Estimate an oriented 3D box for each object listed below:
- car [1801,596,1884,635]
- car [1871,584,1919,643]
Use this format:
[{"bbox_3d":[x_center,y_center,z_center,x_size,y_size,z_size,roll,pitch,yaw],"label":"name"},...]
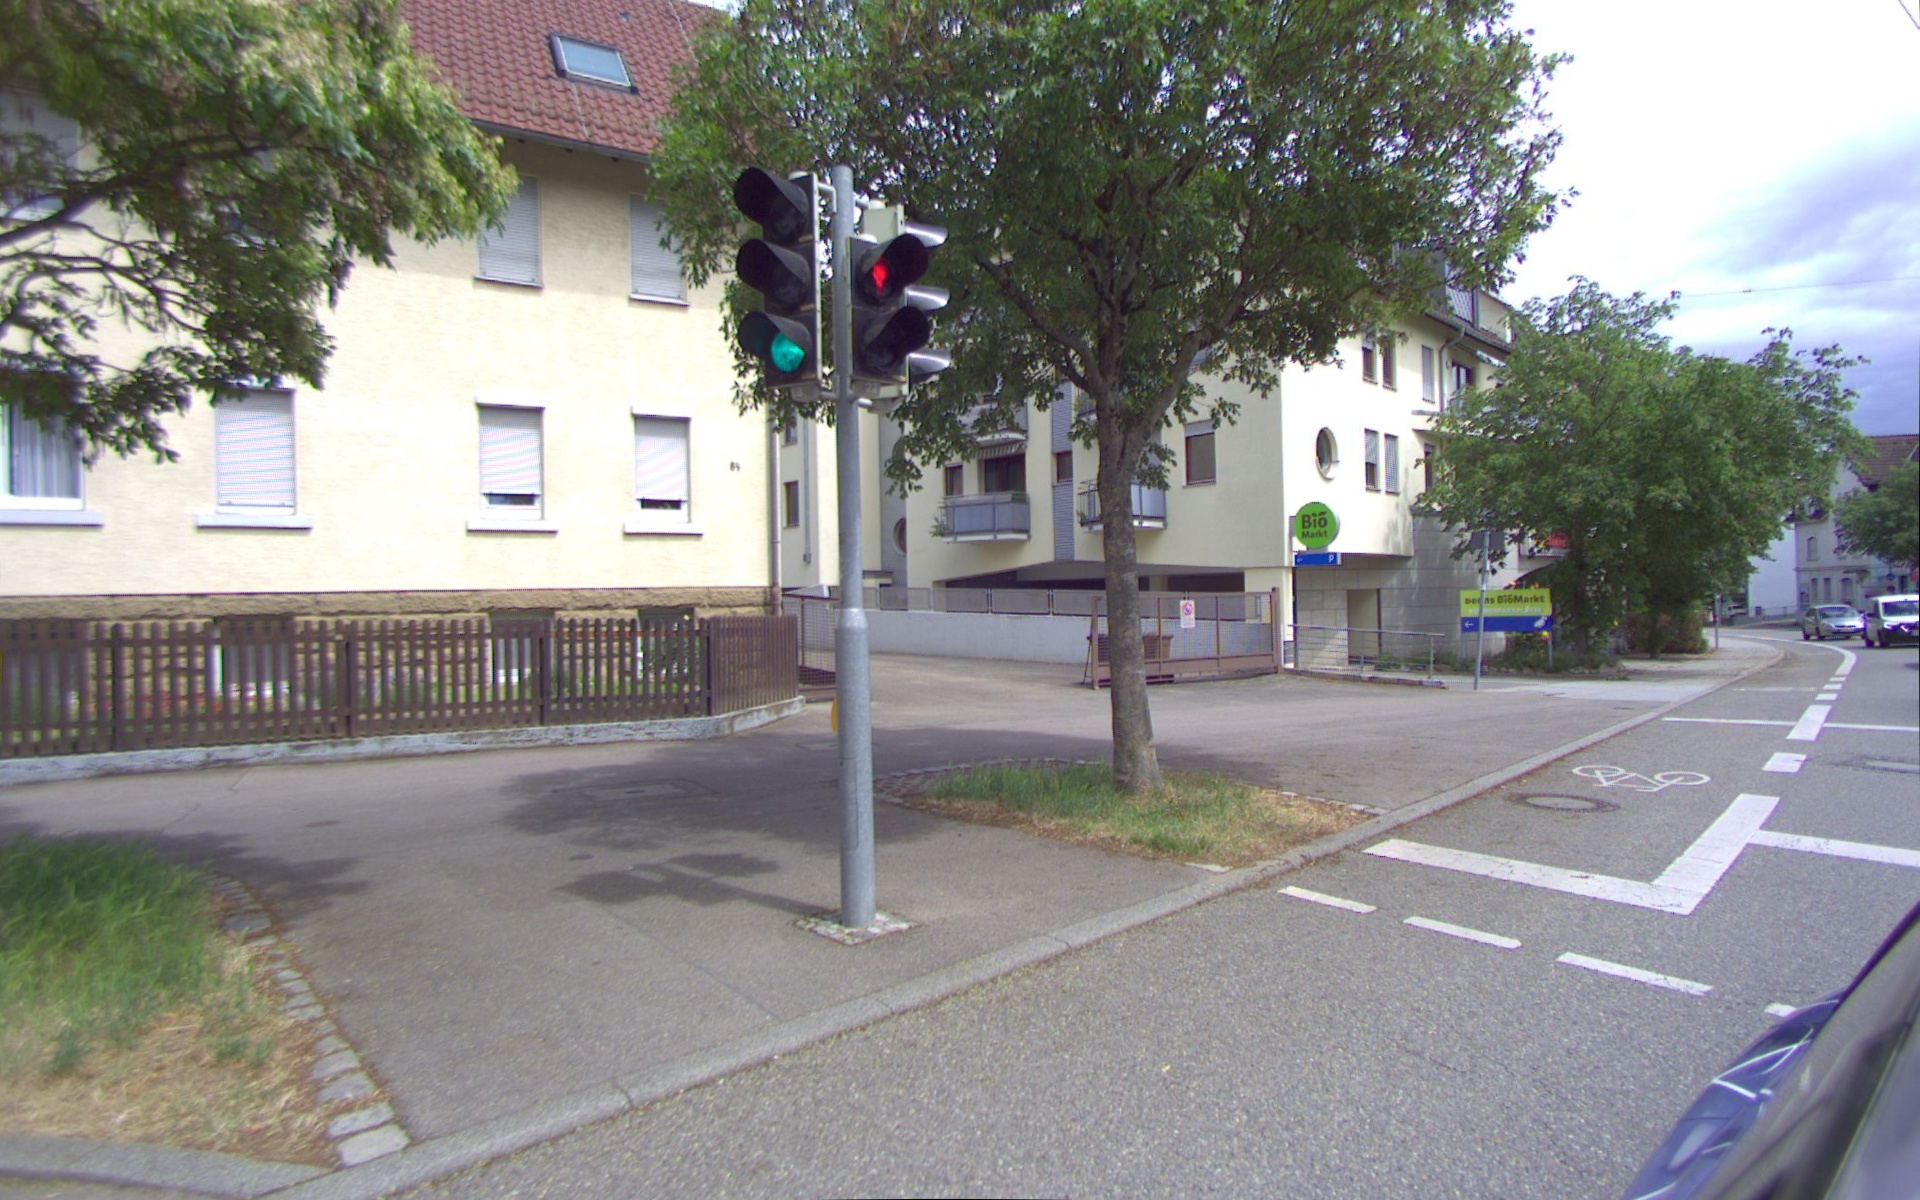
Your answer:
[{"bbox_3d":[38.329,0.648,44.056,1.678,1.505,3.962,-4,-2,27],"label":"car"},{"bbox_3d":[32.553,0.408,34.371,1.841,1.839,3.949,-5,-2,36],"label":"car"}]
